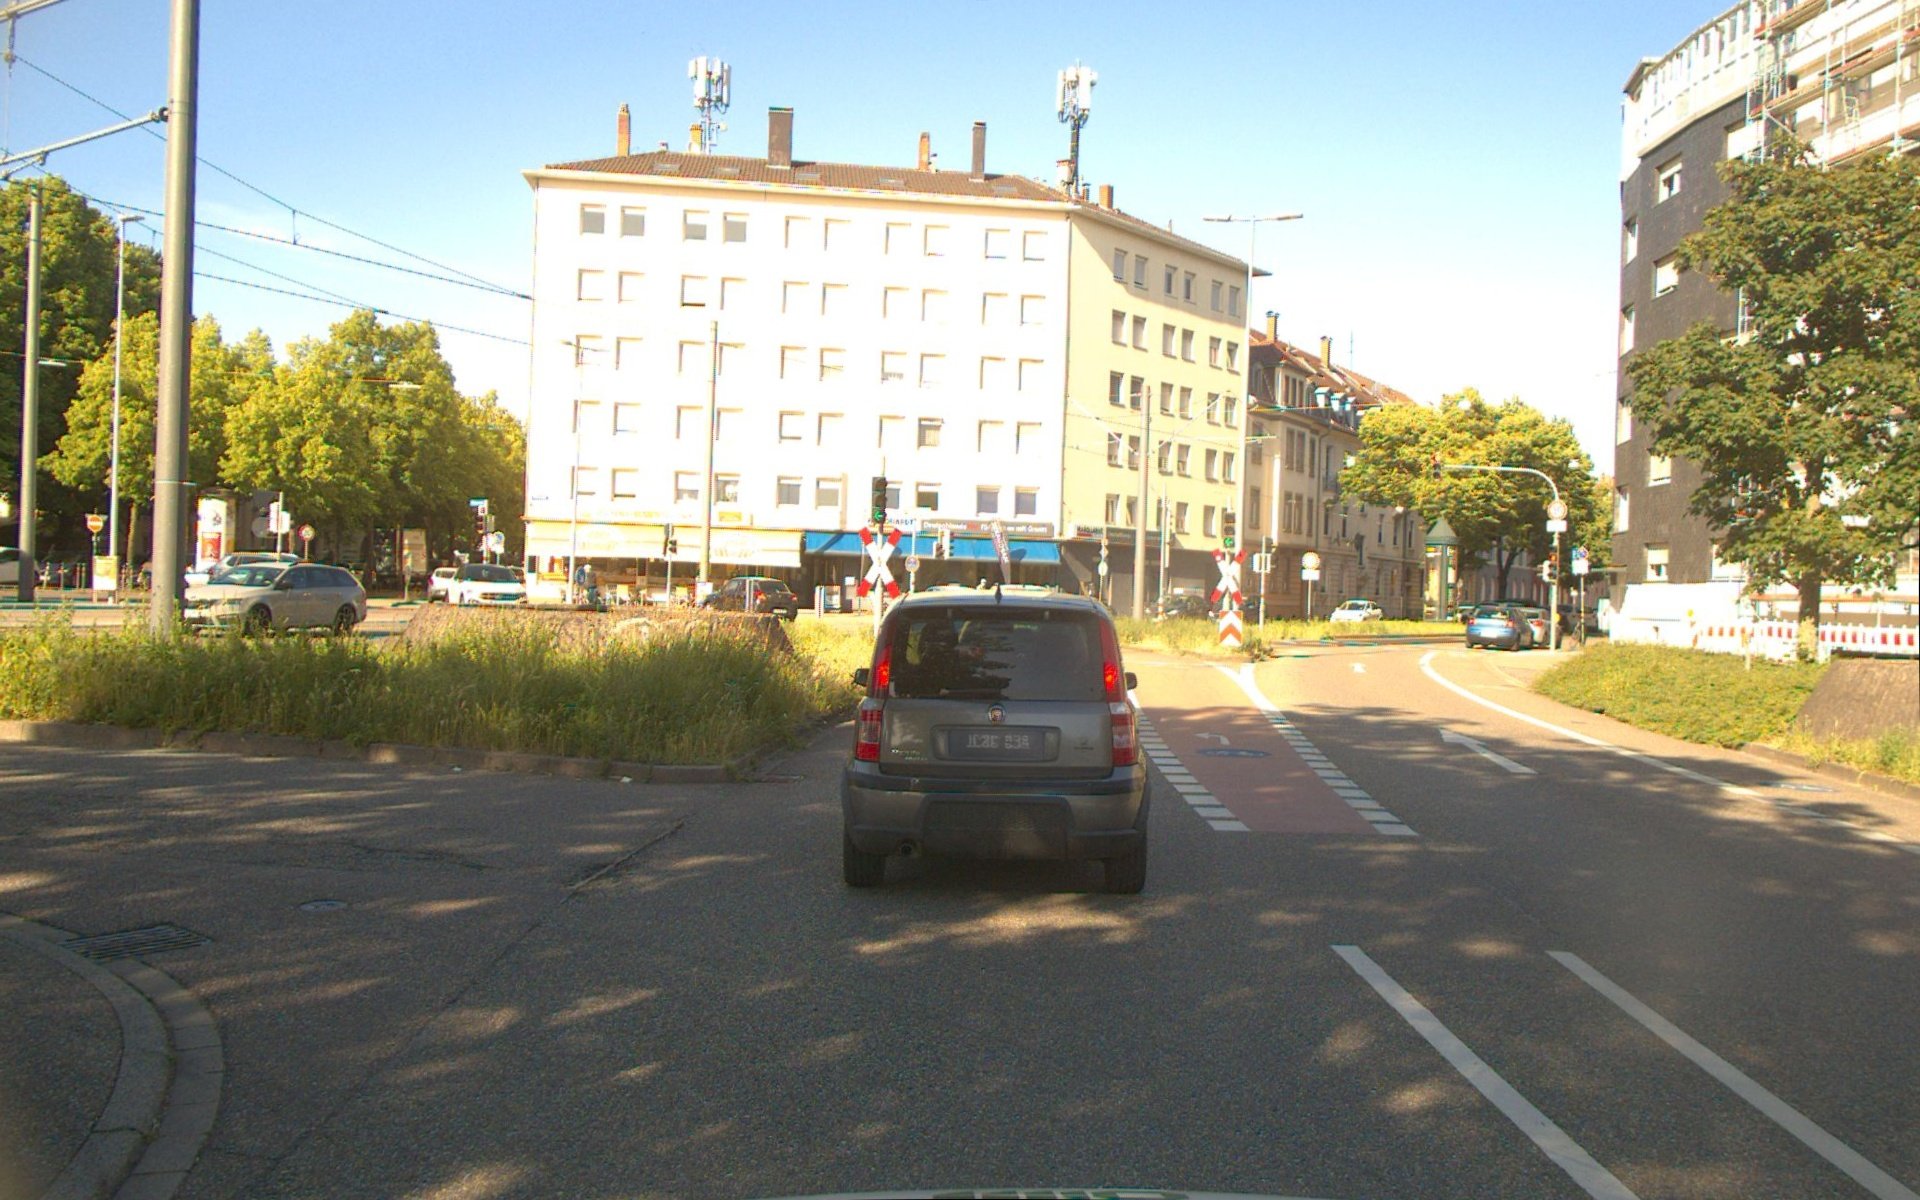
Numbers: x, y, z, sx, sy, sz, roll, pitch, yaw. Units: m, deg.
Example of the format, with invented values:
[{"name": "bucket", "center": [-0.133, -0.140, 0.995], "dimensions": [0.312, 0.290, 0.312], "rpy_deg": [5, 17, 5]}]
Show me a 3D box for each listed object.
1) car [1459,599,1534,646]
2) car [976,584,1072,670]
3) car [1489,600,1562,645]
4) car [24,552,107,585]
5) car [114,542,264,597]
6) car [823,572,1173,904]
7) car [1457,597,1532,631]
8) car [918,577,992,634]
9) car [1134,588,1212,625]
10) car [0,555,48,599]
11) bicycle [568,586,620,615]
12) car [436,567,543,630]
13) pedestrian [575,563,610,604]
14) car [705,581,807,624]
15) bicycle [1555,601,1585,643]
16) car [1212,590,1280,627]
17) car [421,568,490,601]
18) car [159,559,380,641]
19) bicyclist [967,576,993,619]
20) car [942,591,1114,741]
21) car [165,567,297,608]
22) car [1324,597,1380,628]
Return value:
[{"name": "car", "center": [18.403, 0.757, 56.631], "dimensions": [1.742, 1.467, 3.612], "rpy_deg": [3, 1, 29]}, {"name": "car", "center": [1.275, 0.486, 32.572], "dimensions": [1.723, 1.512, 4.295], "rpy_deg": [2, 0, 3]}, {"name": "car", "center": [20.861, 0.793, 60.907], "dimensions": [1.786, 1.534, 3.992], "rpy_deg": [2, 1, 30]}, {"name": "car", "center": [-37.346, -1.305, 69.120], "dimensions": [1.562, 1.316, 3.701], "rpy_deg": [2, 1, -3]}, {"name": "car", "center": [-25.093, -0.986, 53.912], "dimensions": [3.902, 1.599, 2.002], "rpy_deg": [2, 0, 7]}, {"name": "car", "center": [0.144, 0.647, 9.517], "dimensions": [1.626, 1.536, 3.250], "rpy_deg": [2, 0, -2]}, {"name": "car", "center": [28.350, 0.731, 87.878], "dimensions": [1.873, 1.621, 3.983], "rpy_deg": [2, 1, -16]}, {"name": "car", "center": [-0.168, 0.131, 45.771], "dimensions": [1.614, 1.463, 3.391], "rpy_deg": [2, 0, -7]}, {"name": "car", "center": [8.773, 0.291, 67.912], "dimensions": [1.758, 1.420, 3.716], "rpy_deg": [2, 0, 32]}, {"name": "car", "center": [-37.147, -0.914, 63.611], "dimensions": [1.724, 1.645, 4.226], "rpy_deg": [2, 1, 0]}, {"name": "bicycle", "center": [-13.650, 0.030, 61.603], "dimensions": [1.816, 0.968, 0.783], "rpy_deg": [3, -1, 31]}, {"name": "car", "center": [-13.154, -0.080, 46.090], "dimensions": [1.971, 1.589, 4.347], "rpy_deg": [2, 0, -28]}, {"name": "pedestrian", "center": [-13.685, -0.613, 61.645], "dimensions": [0.918, 1.452, 0.774], "rpy_deg": [3, -1, 31]}, {"name": "car", "center": [-6.736, 0.078, 54.393], "dimensions": [1.679, 1.275, 3.575], "rpy_deg": [2, 0, -39]}, {"name": "bicycle", "center": [22.792, 0.826, 61.759], "dimensions": [0.562, 1.537, 2.802], "rpy_deg": [2, 0, 30]}, {"name": "car", "center": [13.010, 0.399, 75.047], "dimensions": [1.758, 1.593, 3.757], "rpy_deg": [2, 0, 32]}, {"name": "car", "center": [-21.948, -0.659, 72.091], "dimensions": [1.954, 1.333, 3.998], "rpy_deg": [2, 0, -3]}, {"name": "car", "center": [-13.733, 0.010, 33.207], "dimensions": [1.628, 1.474, 4.404], "rpy_deg": [2, 0, 17]}, {"name": "bicyclist", "center": [0.774, -0.098, 62.967], "dimensions": [0.804, 1.586, 0.562], "rpy_deg": [2, 0, 22]}, {"name": "car", "center": [0.671, 0.666, 18.707], "dimensions": [1.589, 1.454, 3.686], "rpy_deg": [2, 0, -3]}, {"name": "car", "center": [-25.822, -0.447, 58.710], "dimensions": [3.919, 1.264, 1.993], "rpy_deg": [3, 0, -14]}, {"name": "car", "center": [20.323, 0.678, 85.700], "dimensions": [1.758, 1.508, 3.523], "rpy_deg": [2, 0, 32]}]
